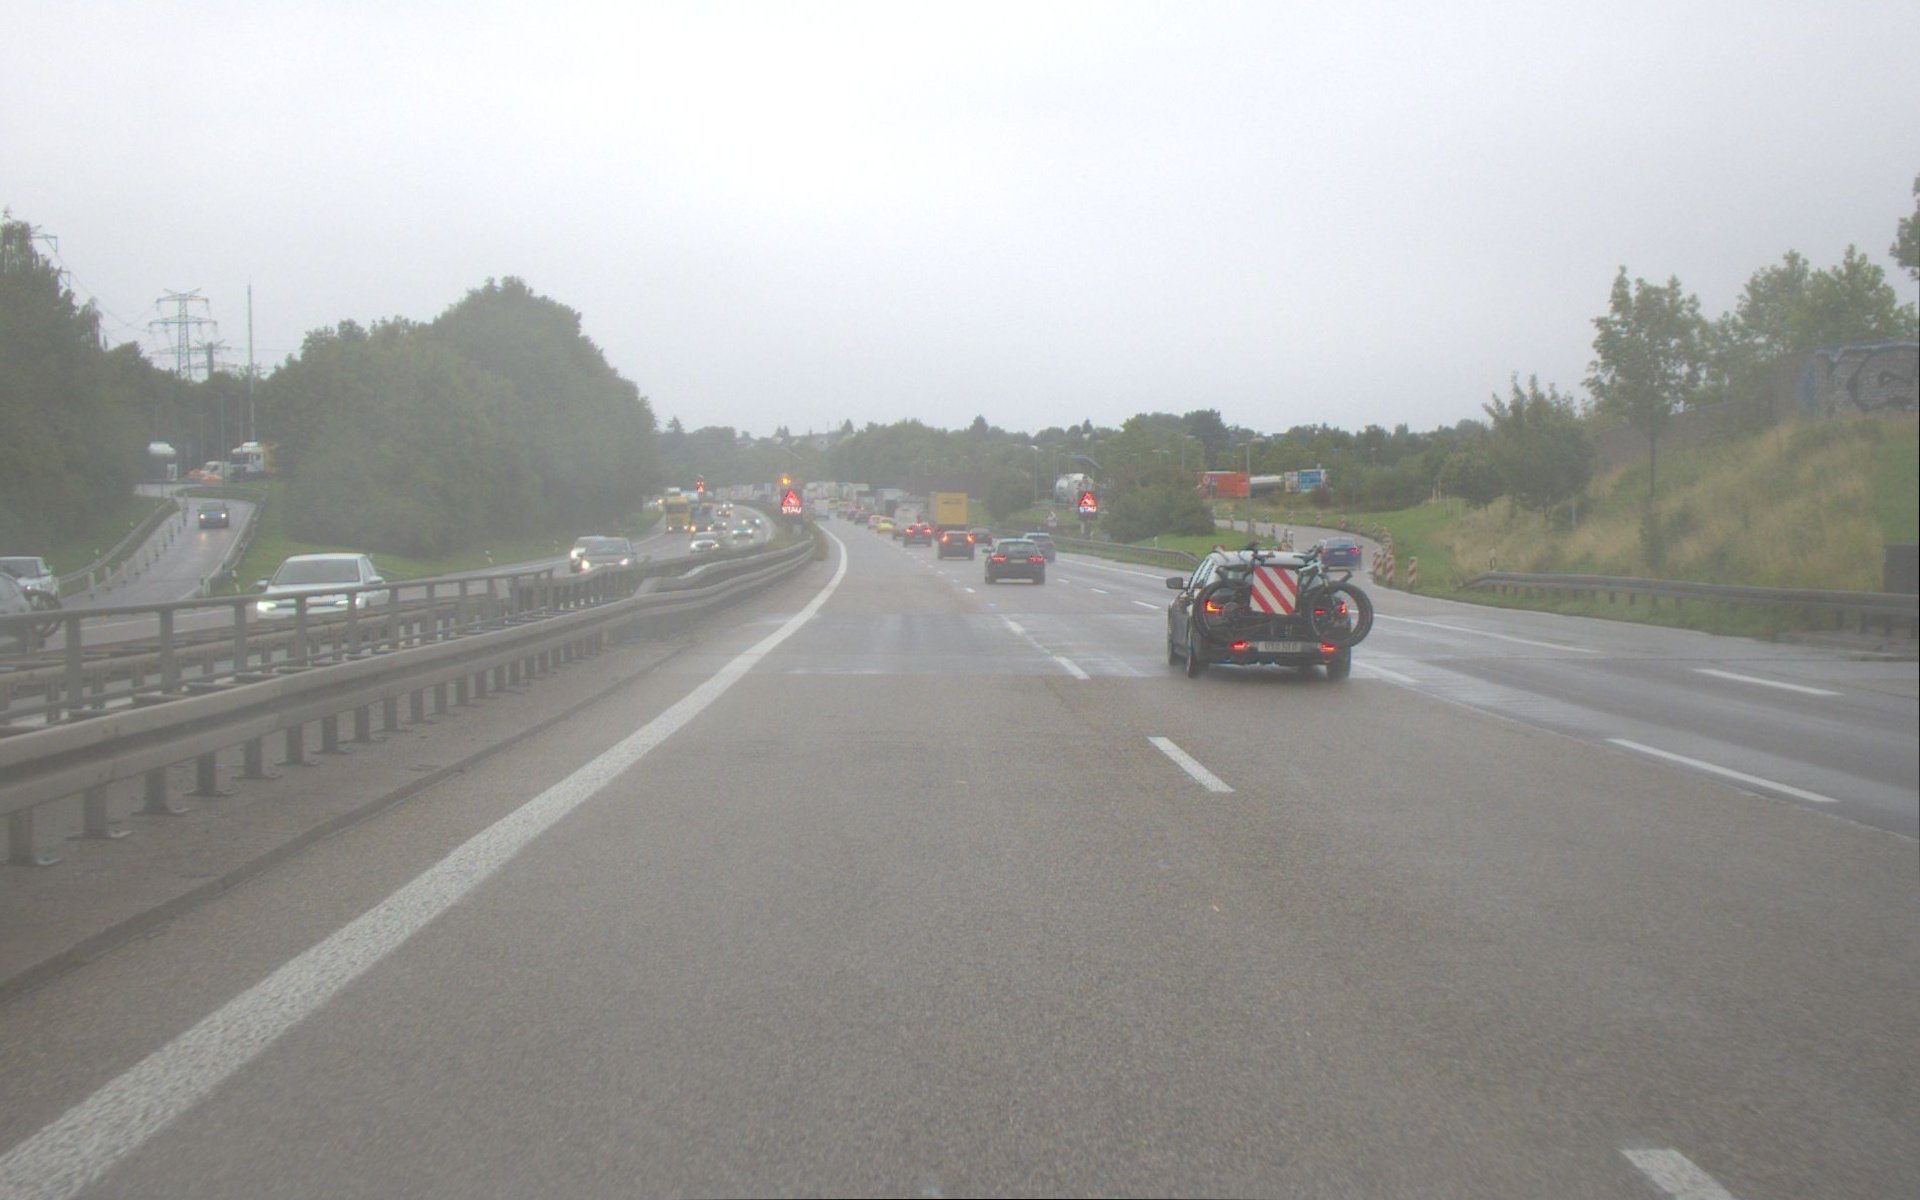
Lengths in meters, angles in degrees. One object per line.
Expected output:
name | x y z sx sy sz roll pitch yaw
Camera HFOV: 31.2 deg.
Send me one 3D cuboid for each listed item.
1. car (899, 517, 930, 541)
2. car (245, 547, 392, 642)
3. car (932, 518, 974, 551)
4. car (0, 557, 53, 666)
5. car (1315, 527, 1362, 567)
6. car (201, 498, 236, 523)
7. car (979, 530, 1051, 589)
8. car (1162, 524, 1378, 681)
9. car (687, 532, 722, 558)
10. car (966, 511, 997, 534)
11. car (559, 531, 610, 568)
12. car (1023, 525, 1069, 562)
car | -3.182 -4.982 239.912 1.993 1.623 4.001 -1 2 -3
car | -10.480 -0.118 56.401 1.656 1.432 4.089 -2 1 -1
car | -0.366 -3.387 177.244 1.993 1.623 4.001 -1 2 -3
car | -13.811 0.183 46.846 1.816 1.432 4.089 -2 1 -1
car | 16.827 -2.359 152.979 1.922 1.703 4.000 -1 1 4
car | -46.259 -5.588 214.444 1.967 1.537 4.001 -1 1 -14
car | 1.727 -1.300 109.077 1.993 1.755 4.001 -1 2 -3
car | 3.495 -0.006 39.748 2.058 1.665 5.522 1 1 1
car | -15.340 -3.299 206.485 1.757 1.456 4.762 -2 1 -1
car | 1.541 -5.616 249.599 1.993 1.623 4.001 -1 2 -3
car | -17.538 -2.360 160.745 1.904 1.659 4.714 -1 1 -1
car | 4.241 -2.806 170.283 1.993 1.755 4.001 -1 2 -3
